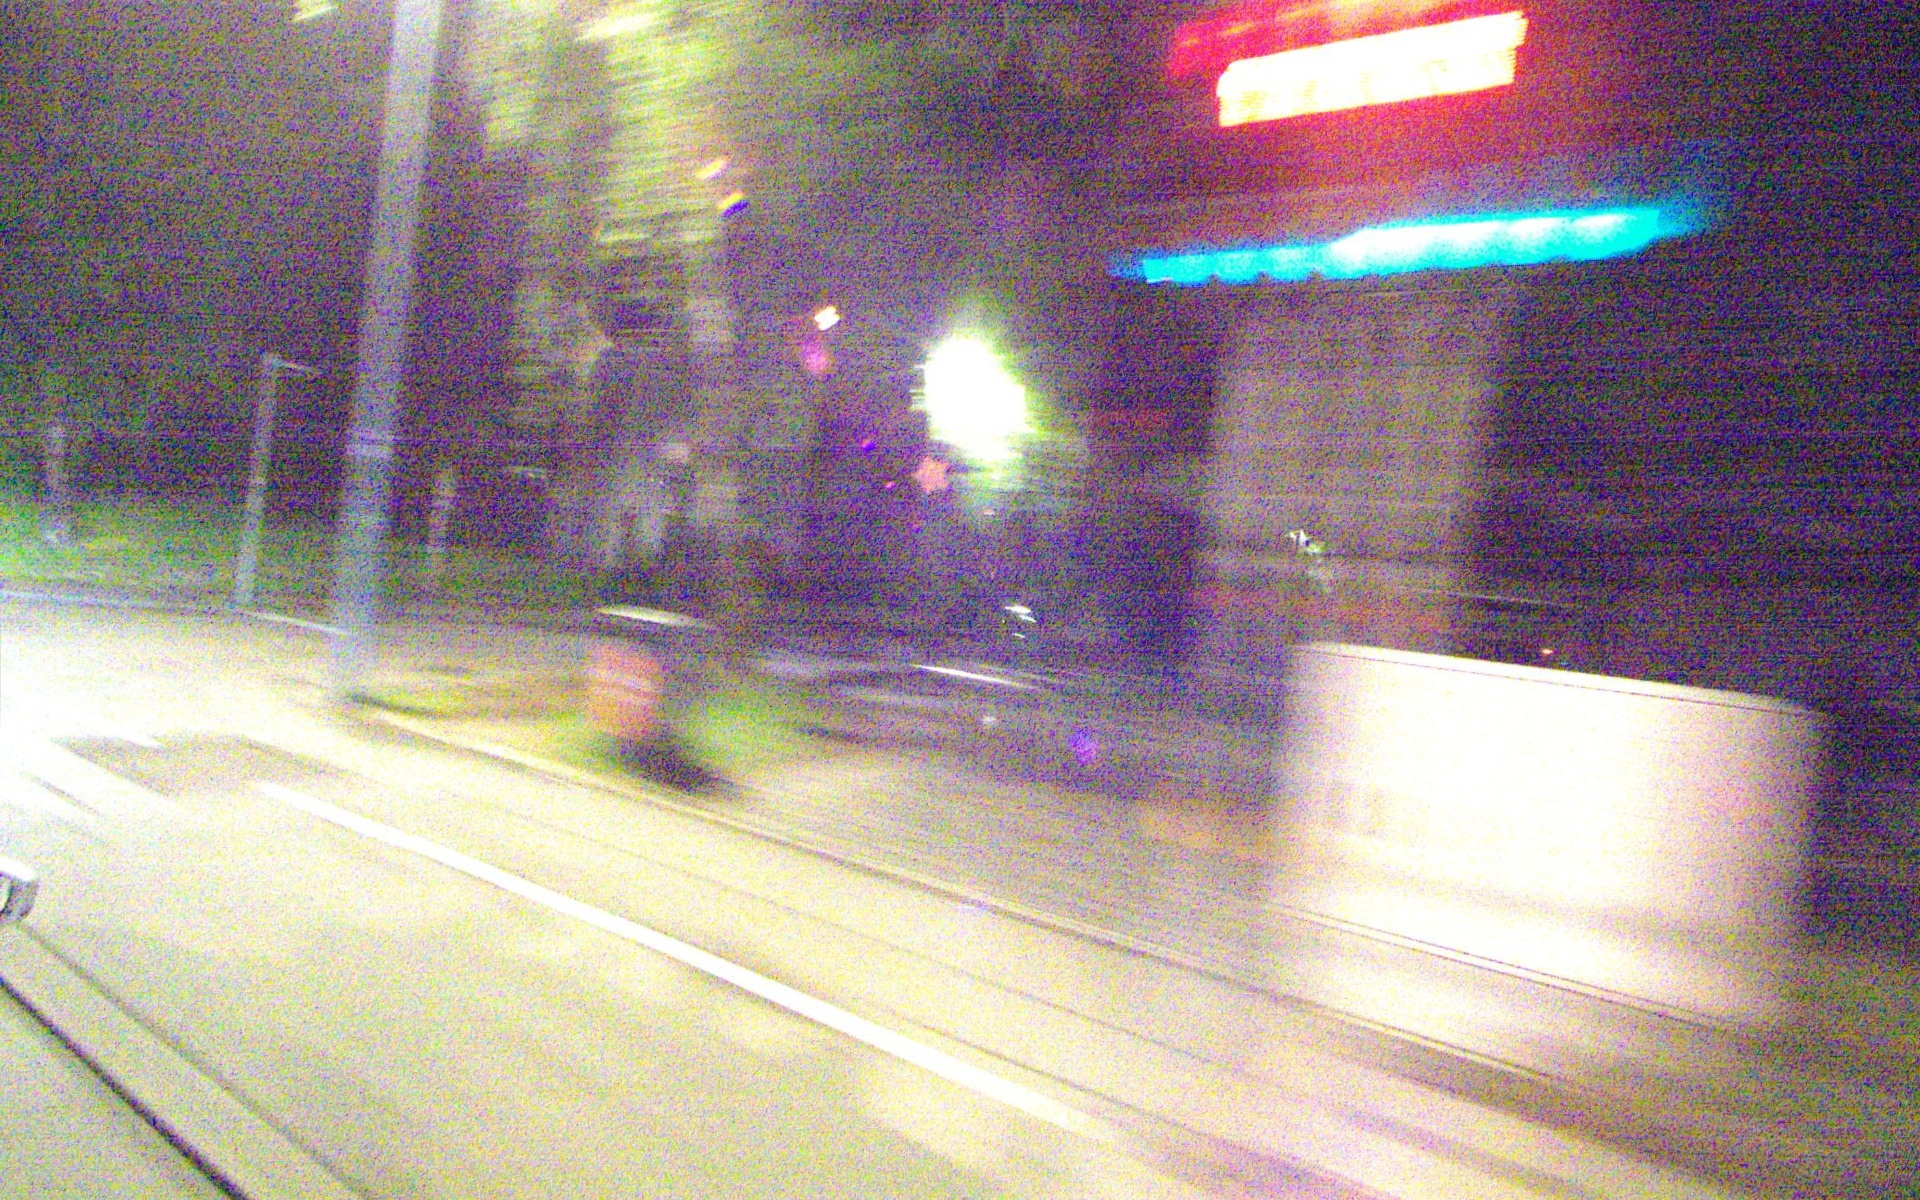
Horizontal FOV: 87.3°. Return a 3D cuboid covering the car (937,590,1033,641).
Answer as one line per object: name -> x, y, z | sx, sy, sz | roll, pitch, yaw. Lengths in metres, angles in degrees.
car -> 0.952, 0.601, 36.163 | 1.720, 1.491, 3.776 | 6, 0, 31

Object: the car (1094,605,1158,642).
car -> 8.003, 1.156, 48.197 | 1.818, 1.448, 3.995 | 7, 0, 26
